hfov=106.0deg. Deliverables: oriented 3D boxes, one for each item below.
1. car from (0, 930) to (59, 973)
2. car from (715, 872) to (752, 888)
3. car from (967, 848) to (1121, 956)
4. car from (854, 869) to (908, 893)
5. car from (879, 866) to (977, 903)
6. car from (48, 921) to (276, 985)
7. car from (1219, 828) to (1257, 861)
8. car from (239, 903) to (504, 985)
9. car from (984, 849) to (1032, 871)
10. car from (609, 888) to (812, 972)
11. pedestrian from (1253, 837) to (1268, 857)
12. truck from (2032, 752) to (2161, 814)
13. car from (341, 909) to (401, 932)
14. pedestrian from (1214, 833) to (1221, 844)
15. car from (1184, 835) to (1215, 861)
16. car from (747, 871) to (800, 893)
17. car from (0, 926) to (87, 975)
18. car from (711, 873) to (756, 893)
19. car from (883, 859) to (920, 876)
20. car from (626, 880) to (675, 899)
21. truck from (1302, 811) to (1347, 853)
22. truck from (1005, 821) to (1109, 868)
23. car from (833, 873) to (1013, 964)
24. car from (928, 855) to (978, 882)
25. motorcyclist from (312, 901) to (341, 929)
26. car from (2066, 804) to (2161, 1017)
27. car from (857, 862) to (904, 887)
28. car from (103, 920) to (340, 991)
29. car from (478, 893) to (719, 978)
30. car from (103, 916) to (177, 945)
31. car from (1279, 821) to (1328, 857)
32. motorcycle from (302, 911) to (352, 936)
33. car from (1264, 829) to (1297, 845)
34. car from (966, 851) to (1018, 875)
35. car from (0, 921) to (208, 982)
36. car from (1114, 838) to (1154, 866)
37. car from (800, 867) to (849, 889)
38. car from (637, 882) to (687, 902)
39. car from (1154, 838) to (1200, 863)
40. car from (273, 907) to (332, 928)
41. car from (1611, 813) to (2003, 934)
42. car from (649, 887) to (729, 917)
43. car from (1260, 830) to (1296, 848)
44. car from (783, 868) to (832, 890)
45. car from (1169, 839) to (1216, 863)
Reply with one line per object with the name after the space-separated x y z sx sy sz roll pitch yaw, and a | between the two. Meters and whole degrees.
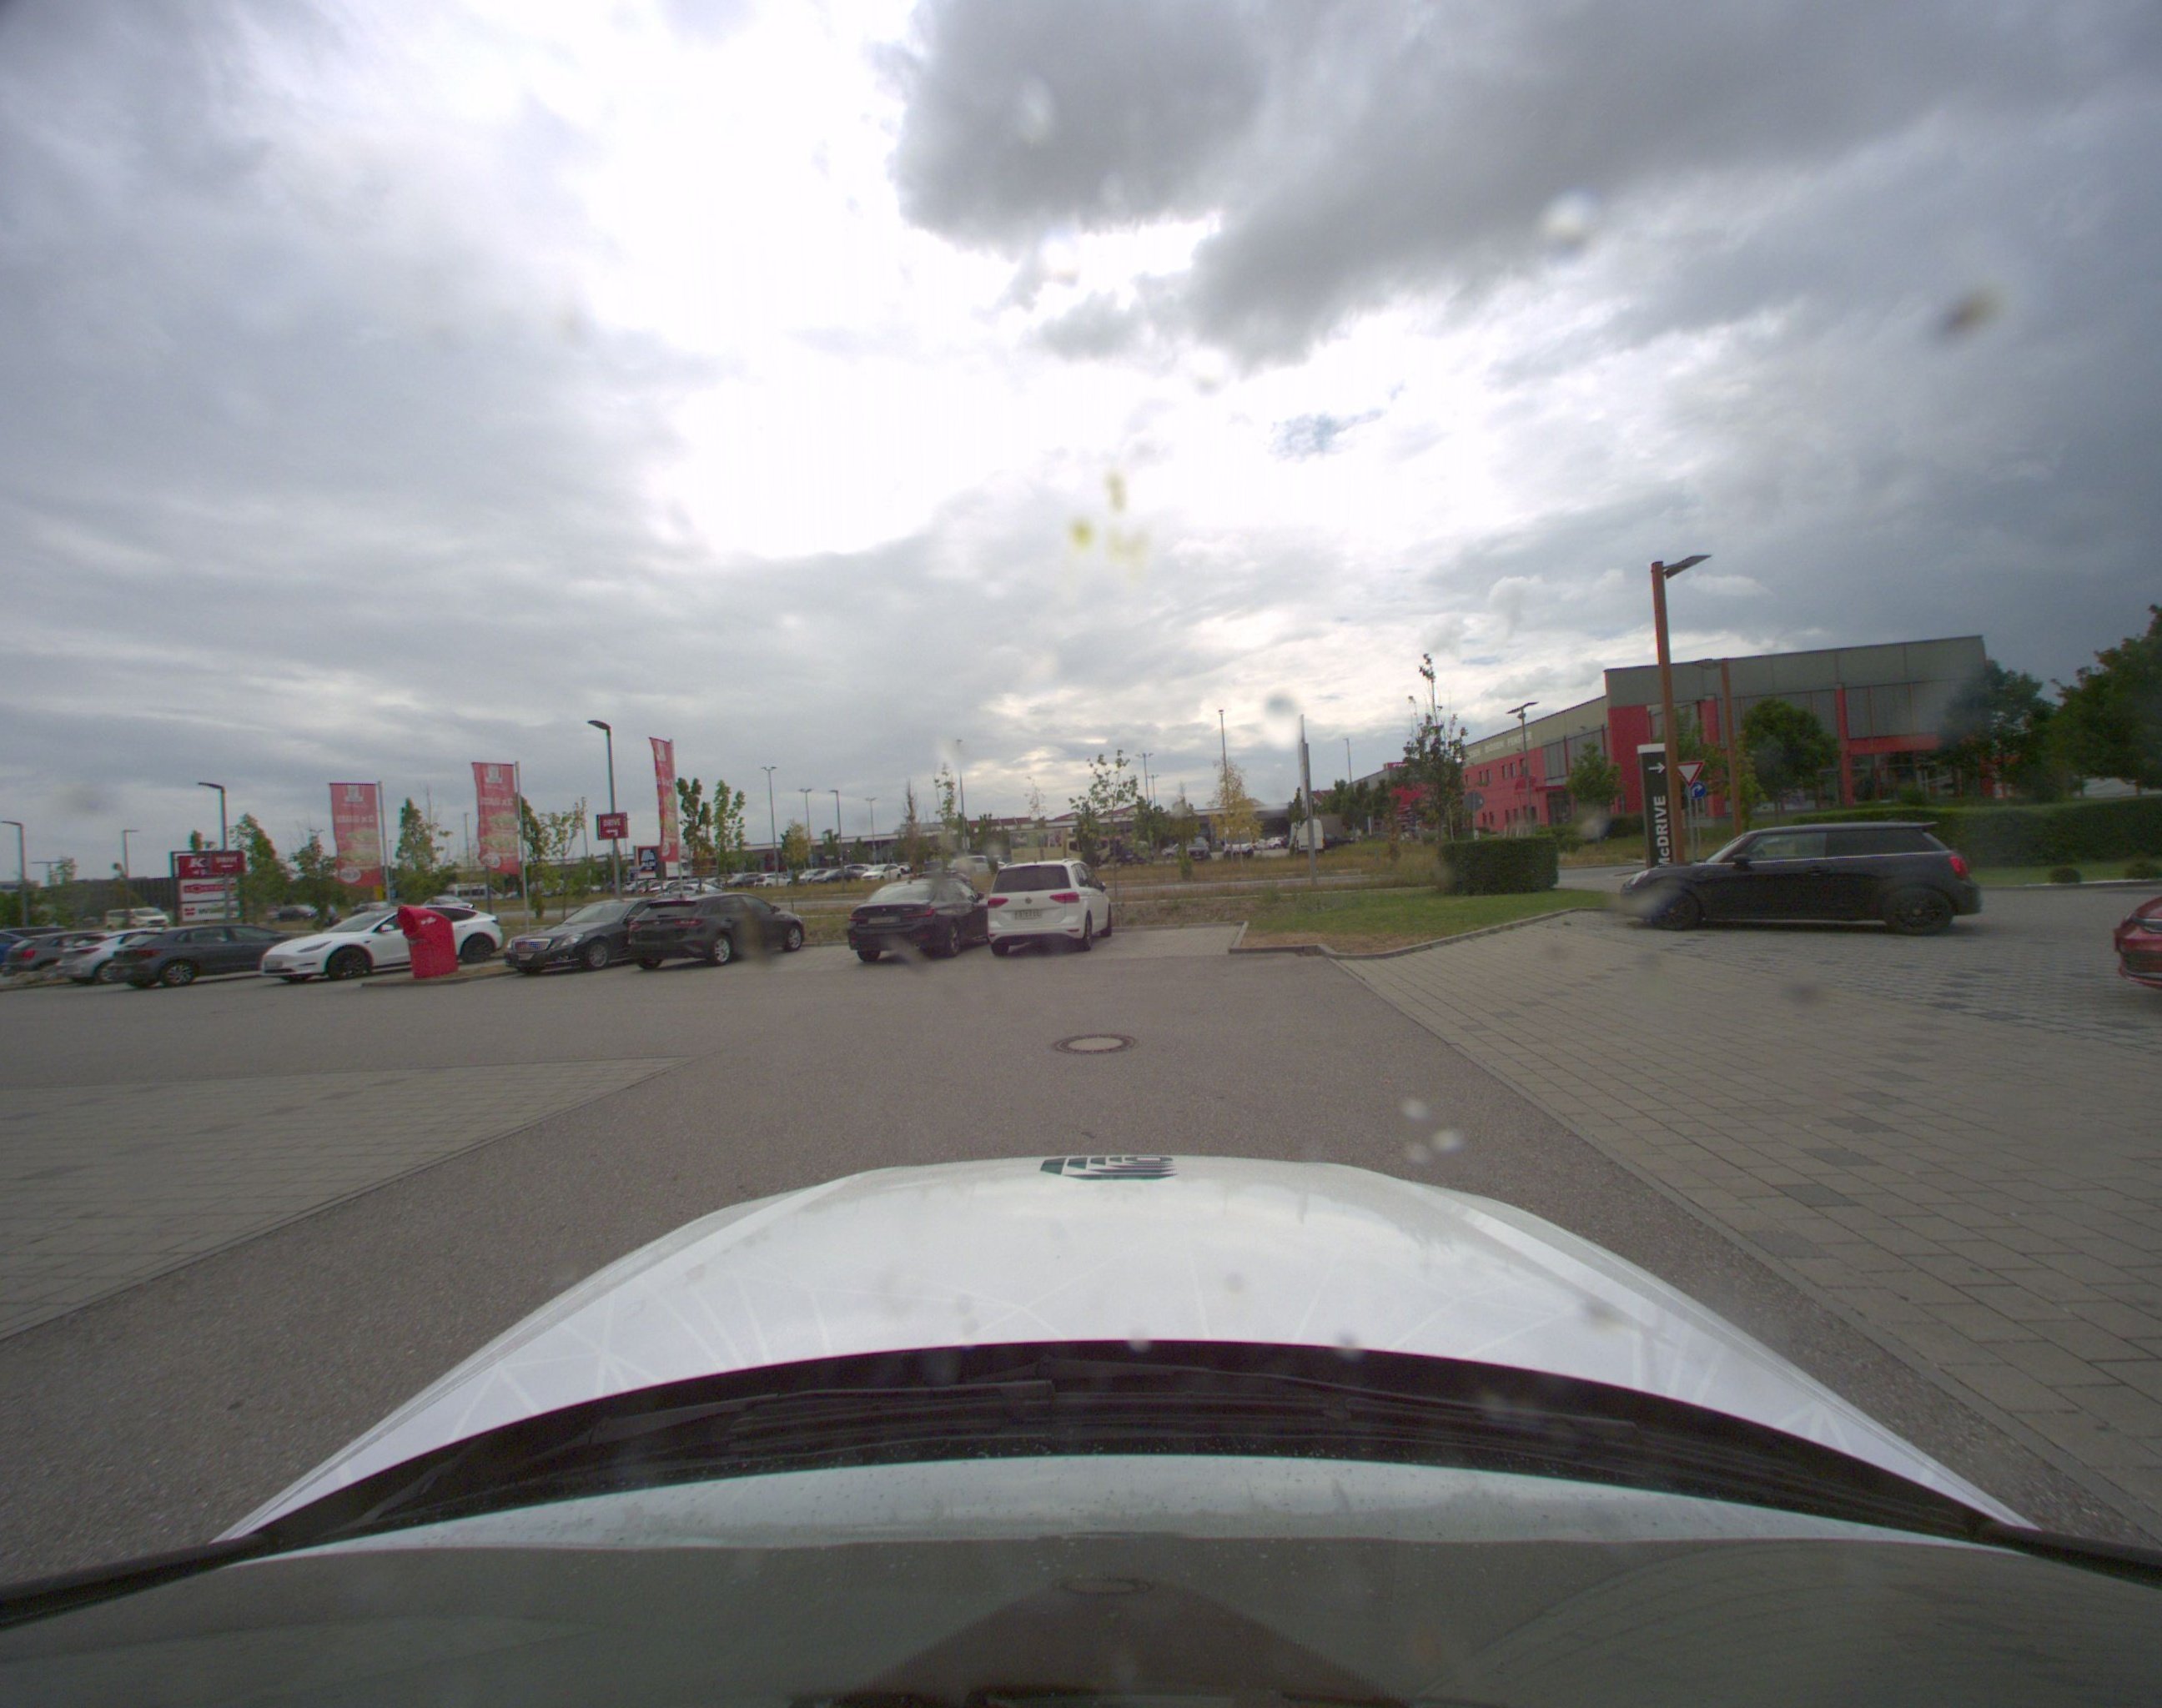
-41.712 3.817 30.419 1.753 1.459 4.101 -3 1 29 | car
-47.784 3.527 111.950 4.145 1.837 2.007 -4 1 11 | car
-0.538 0.858 15.880 1.973 1.713 4.385 -4 -2 10 | car
-18.460 2.485 75.186 4.273 1.771 1.931 -4 1 17 | car
-8.340 1.659 44.523 4.806 1.551 1.808 -4 1 11 | car
-26.372 2.796 23.547 1.817 1.412 3.960 -4 -2 22 | car
11.530 -0.756 60.126 2.394 2.214 6.074 -3 1 8 | car
-17.212 2.130 20.102 1.904 1.541 4.566 -4 -2 17 | car
-7.260 0.595 80.862 4.282 1.771 2.005 -4 1 8 | car
-7.678 1.526 17.364 1.870 1.412 4.082 -4 -2 10 | car
13.466 -0.548 61.205 0.969 1.429 0.789 -4 1 7 | pedestrian
83.707 -5.686 64.534 3.733 4.498 12.028 -4 1 8 | truck
-54.629 5.113 62.680 4.231 1.499 1.867 -4 0 25 | car
19.974 -2.282 119.307 0.655 1.429 0.791 -5 1 -29 | pedestrian
8.772 -0.481 60.417 2.059 1.638 5.083 -3 1 8 | car
-28.089 2.525 74.490 1.974 1.539 4.187 -4 1 31 | car
-39.522 3.604 29.412 1.841 1.544 4.241 -4 0 27 | car
-32.790 2.699 77.018 1.752 1.539 3.782 -4 1 18 | car
-23.475 1.796 106.851 4.146 1.837 2.006 -4 1 11 | car
-43.775 3.577 82.889 1.886 1.539 4.075 -4 1 18 | car
23.683 -2.148 79.608 2.634 3.742 8.274 -4 1 7 | truck
-2.000 -0.683 63.718 3.048 3.195 8.327 -5 2 -44 | truck
-2.925 1.172 16.228 1.929 1.466 4.529 -4 -2 10 | car
-10.346 1.135 66.092 1.908 1.771 4.344 -4 1 21 | car
-44.223 3.561 47.751 0.820 1.488 0.947 -4 0 26 | motorcyclist
9.118 0.308 4.923 1.696 1.464 3.953 -3 0 -40 | car
-16.962 1.716 68.992 1.979 1.771 4.338 -4 1 13 | car
-22.092 2.566 21.131 1.718 1.412 3.826 -4 -2 19 | car
-10.559 1.722 18.337 1.893 1.456 4.757 -4 -2 12 | car
-81.120 6.599 70.211 5.175 2.086 2.008 -3 0 14 | car
16.108 -1.134 59.434 2.326 2.267 6.518 -4 1 6 | car
-44.194 4.074 47.741 0.785 1.208 1.933 -4 0 26 | motorcycle
25.870 -2.255 105.476 3.961 1.735 1.940 -4 1 11 | car
-7.851 0.771 71.678 3.954 1.771 2.010 -4 1 18 | car
-30.662 3.007 25.604 1.706 1.428 4.023 -4 -2 25 | car
4.097 -0.185 62.069 2.056 1.884 5.090 -3 0 14 | car
-22.327 2.095 71.017 1.751 1.539 4.077 -4 1 21 | car
-41.884 3.800 81.436 1.842 1.501 4.096 -4 1 22 | car
8.970 -0.364 75.969 3.973 2.013 2.001 -4 1 1 | car
-62.806 5.136 65.696 4.168 1.394 1.778 -4 0 22 | car
9.992 0.269 11.504 1.697 1.412 3.882 -3 0 -44 | car
-24.807 3.057 51.560 4.794 1.551 1.813 -4 1 25 | car
23.451 -1.833 97.191 3.961 1.837 2.006 -4 1 11 | car
-24.258 2.212 72.339 1.751 1.539 4.077 -4 1 21 | car
9.779 -0.265 71.546 3.965 1.738 1.895 -4 1 8 | car
